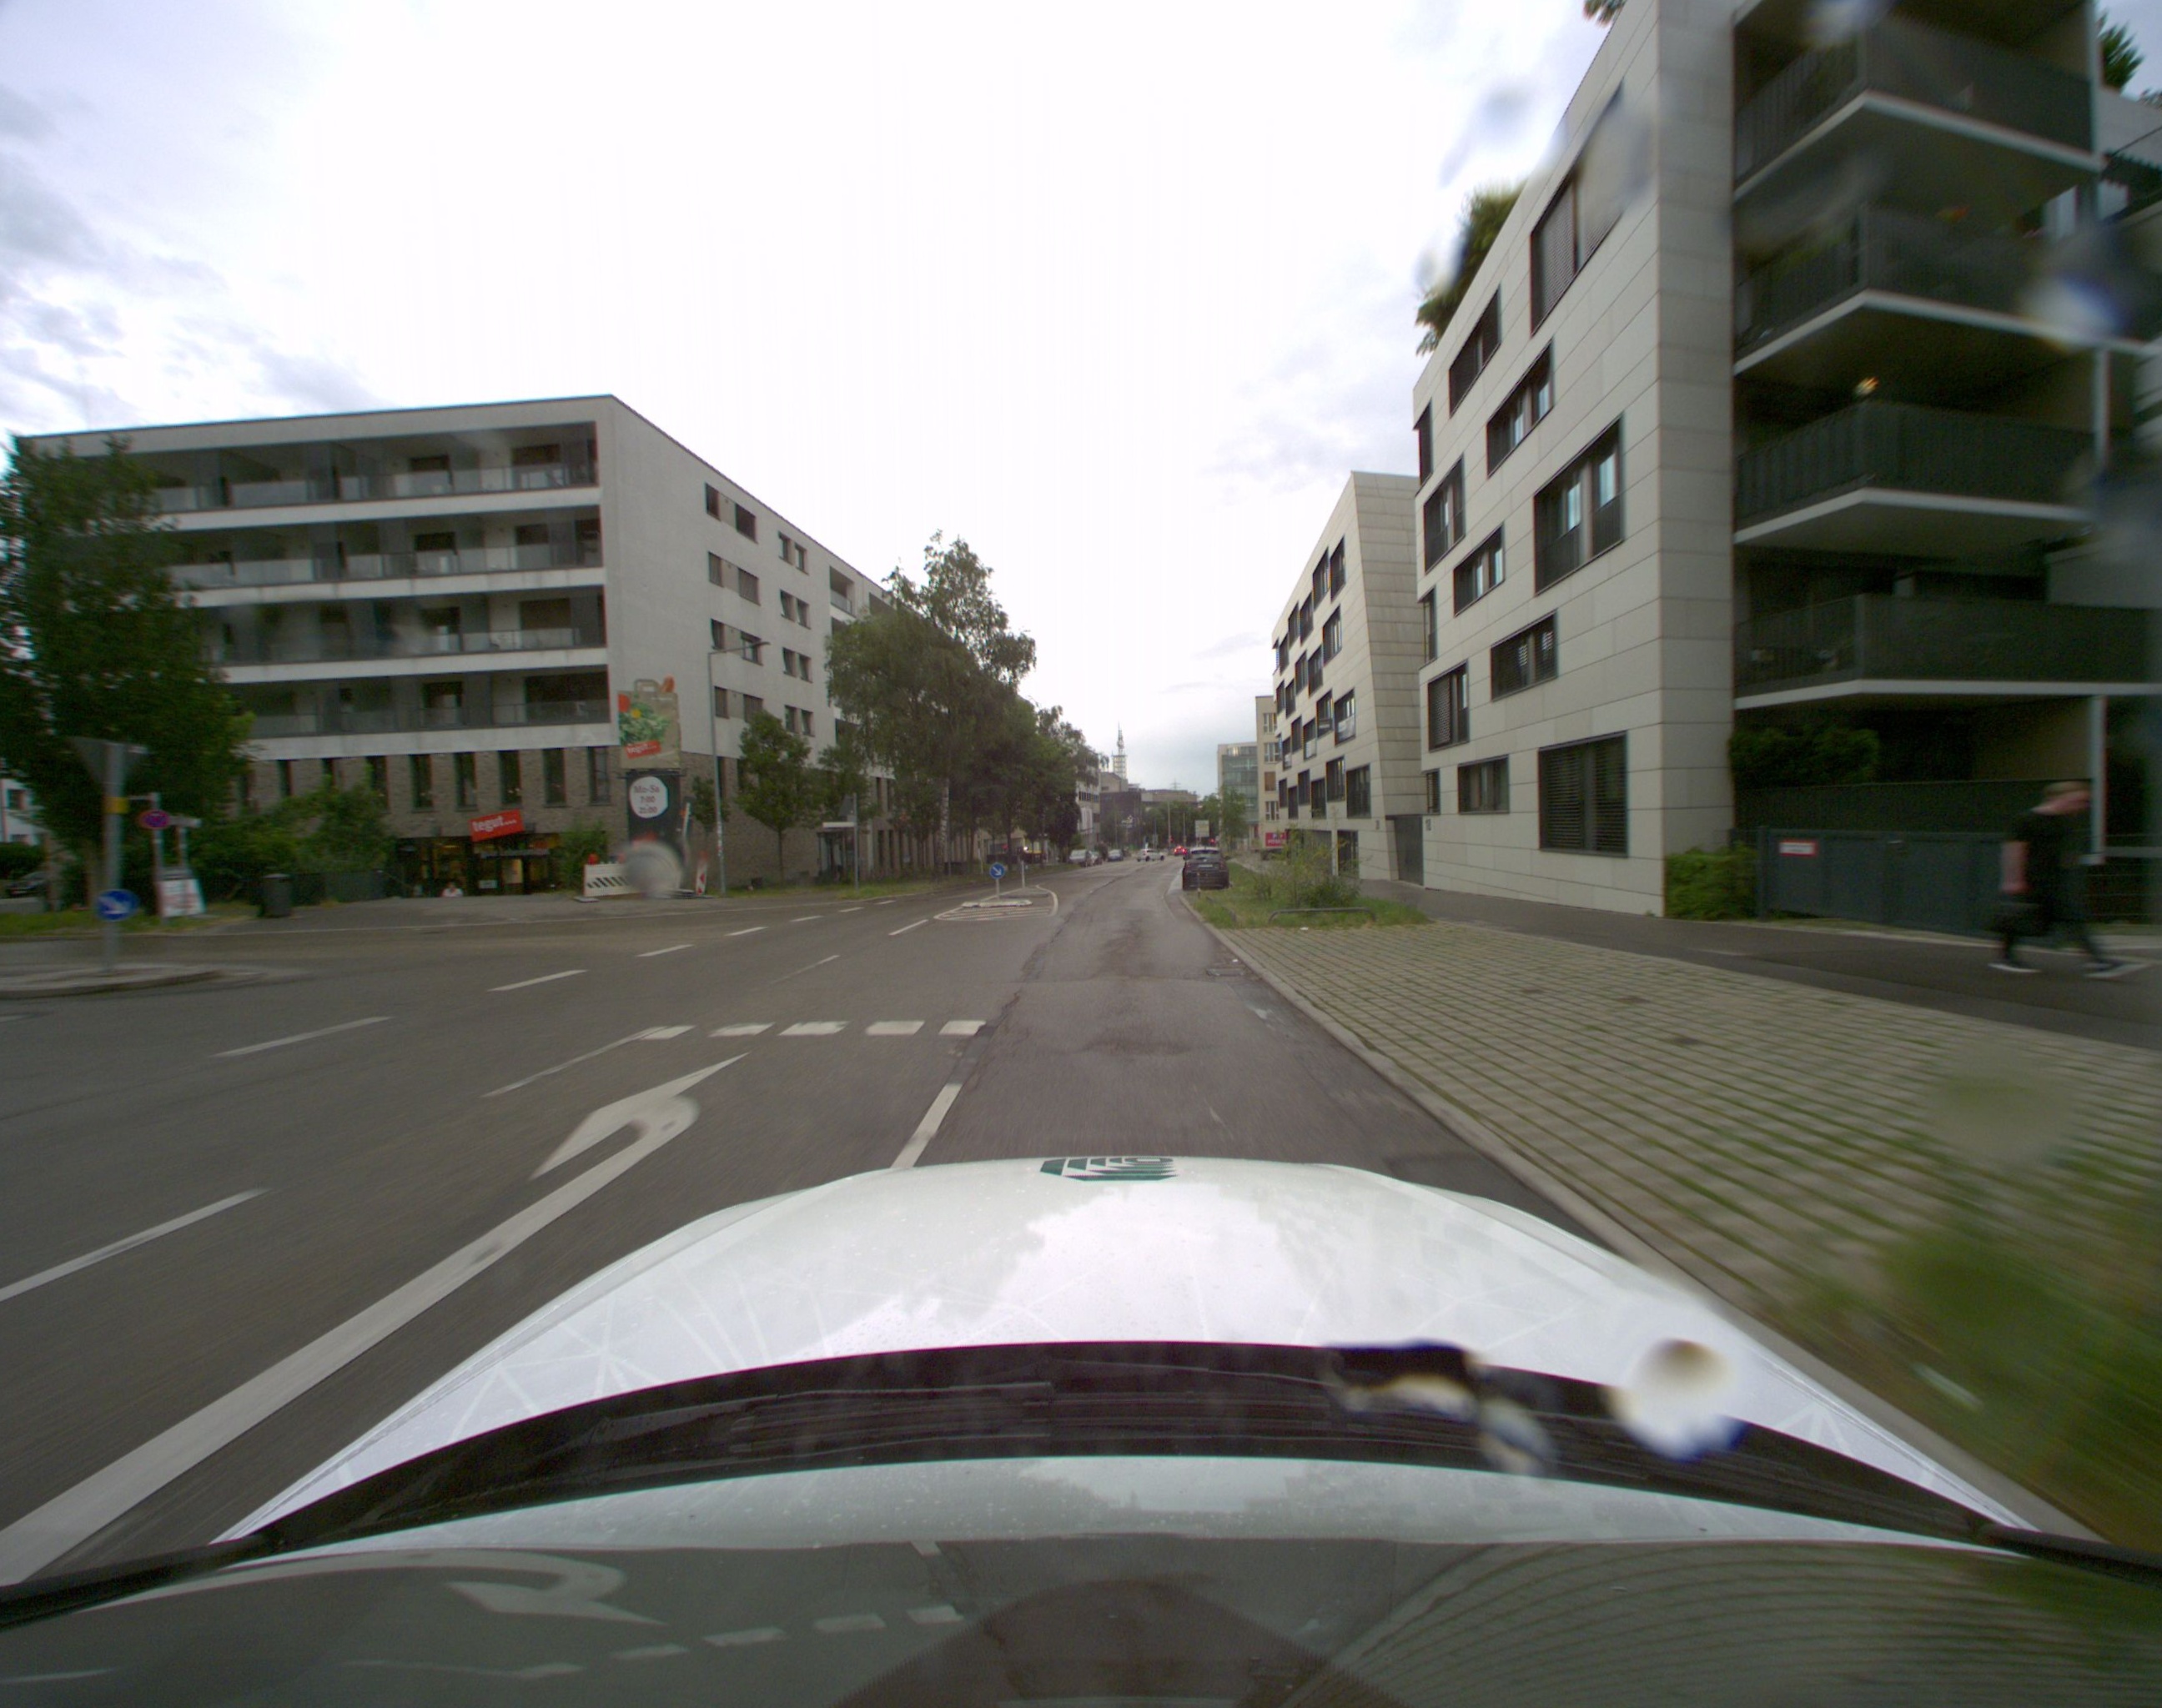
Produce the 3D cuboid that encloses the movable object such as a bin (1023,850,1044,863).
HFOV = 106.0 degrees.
[{"bbox_3d":[-5.278,0.234,90.643,2.044,1.423,1.319,0,0,5],"label":"movable object such as a bin"}]

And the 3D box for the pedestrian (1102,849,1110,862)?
[{"bbox_3d":[3.444,0.166,111.174,0.730,1.708,0.898,-1,-2,-19],"label":"pedestrian"}]

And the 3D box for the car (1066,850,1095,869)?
[{"bbox_3d":[0.000,0.492,77.718,2.066,1.609,4.695,-3,0,7],"label":"car"}]

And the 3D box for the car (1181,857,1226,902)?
[{"bbox_3d":[4.637,0.911,30.625,1.537,1.478,3.670,-1,1,9],"label":"car"}]

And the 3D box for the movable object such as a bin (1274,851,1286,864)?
[{"bbox_3d":[21.278,0.398,87.090,1.253,1.402,1.115,-1,0,10],"label":"movable object such as a bin"}]

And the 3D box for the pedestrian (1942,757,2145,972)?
[{"bbox_3d":[8.595,0.091,7.317,0.819,1.796,0.778,-2,-1,2],"label":"pedestrian"}]

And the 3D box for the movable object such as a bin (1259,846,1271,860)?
[{"bbox_3d":[19.938,-0.106,88.353,1.166,1.503,1.017,-1,0,11],"label":"movable object such as a bin"}]

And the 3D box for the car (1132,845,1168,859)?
[{"bbox_3d":[8.364,-0.242,97.997,4.015,1.577,1.977,-2,0,-38],"label":"car"}]

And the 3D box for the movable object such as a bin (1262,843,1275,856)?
[{"bbox_3d":[19.906,-0.481,86.384,1.227,1.320,1.195,-2,-1,10],"label":"movable object such as a bin"}]

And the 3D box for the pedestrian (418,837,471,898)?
[{"bbox_3d":[-21.326,0.433,27.324,0.880,2.013,1.117,0,0,-1],"label":"pedestrian"}]

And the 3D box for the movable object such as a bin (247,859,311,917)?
[{"bbox_3d":[-19.632,0.809,19.946,0.713,1.362,0.822,-1,0,1],"label":"movable object such as a bin"}]

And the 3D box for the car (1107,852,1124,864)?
[{"bbox_3d":[4.543,0.580,107.024,1.904,1.481,4.363,-1,-1,6],"label":"car"}]

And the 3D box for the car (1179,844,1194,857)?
[{"bbox_3d":[14.810,-0.455,114.107,1.982,1.750,3.681,-1,0,8],"label":"car"}]

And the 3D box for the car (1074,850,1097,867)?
[{"bbox_3d":[0.478,0.432,82.964,1.763,1.600,4.041,-1,0,8],"label":"car"}]

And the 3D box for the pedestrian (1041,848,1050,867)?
[{"bbox_3d":[-3.373,0.318,76.709,0.705,1.683,0.958,-1,0,4],"label":"pedestrian"}]

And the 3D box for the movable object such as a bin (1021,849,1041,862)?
[{"bbox_3d":[-5.455,0.161,89.359,2.017,1.430,1.292,0,0,5],"label":"movable object such as a bin"}]

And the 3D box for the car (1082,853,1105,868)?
[{"bbox_3d":[1.368,0.709,87.626,1.786,1.516,4.257,-1,-1,10],"label":"car"}]

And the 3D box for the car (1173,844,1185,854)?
[{"bbox_3d":[17.729,-0.863,147.246,2.131,1.728,4.007,-1,-1,6],"label":"car"}]
